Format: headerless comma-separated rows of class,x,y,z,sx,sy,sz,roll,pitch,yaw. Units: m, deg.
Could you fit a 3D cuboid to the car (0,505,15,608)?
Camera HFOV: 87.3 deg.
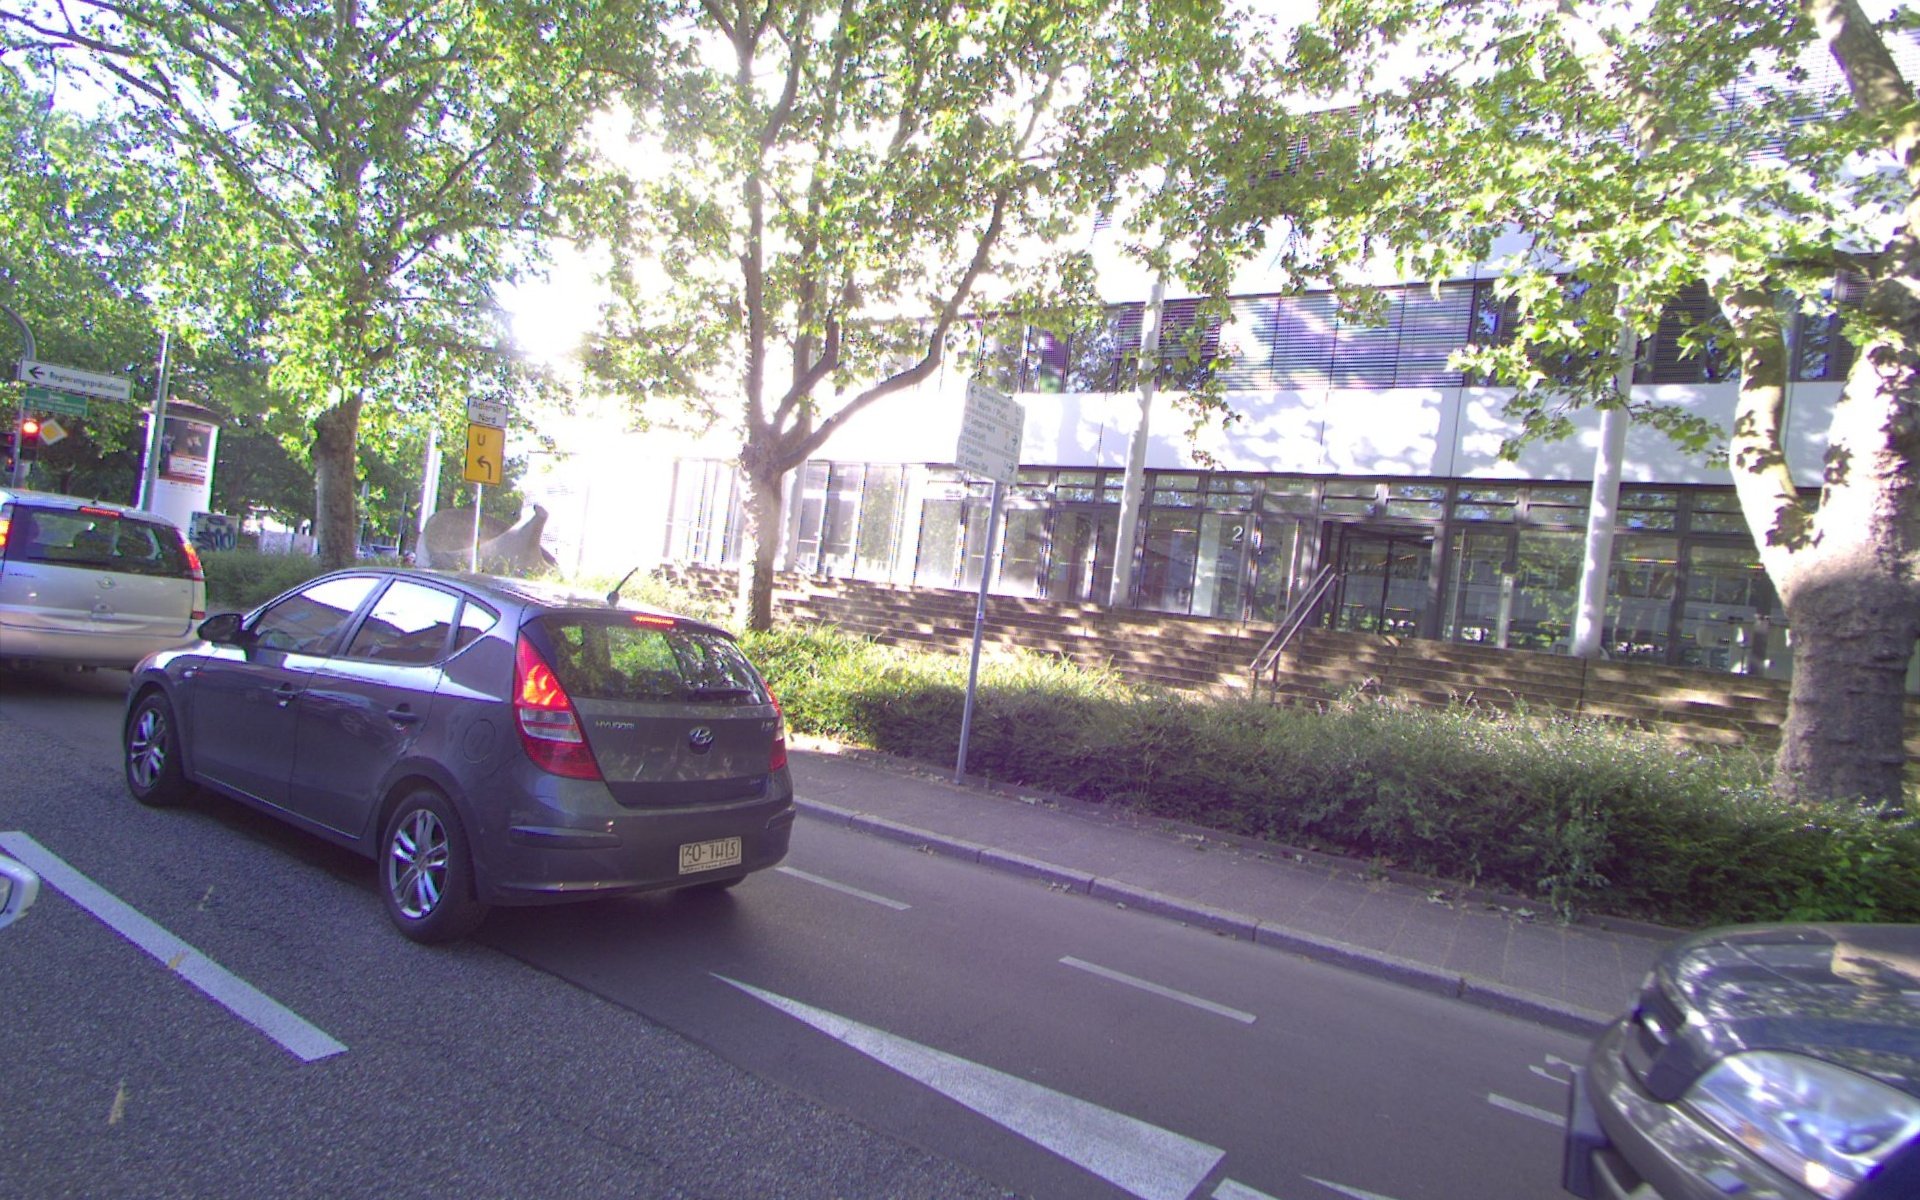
car,-14.011,-0.718,12.613,4.592,1.481,1.917,7,-2,32

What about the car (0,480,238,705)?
car,-8.392,-0.180,9.047,3.797,1.620,1.705,7,-3,34

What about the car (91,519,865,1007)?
car,-2.634,0.581,5.254,3.910,1.498,1.648,7,-3,32

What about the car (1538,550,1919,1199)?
car,3.346,1.114,1.374,4.313,1.790,1.784,7,-3,33
